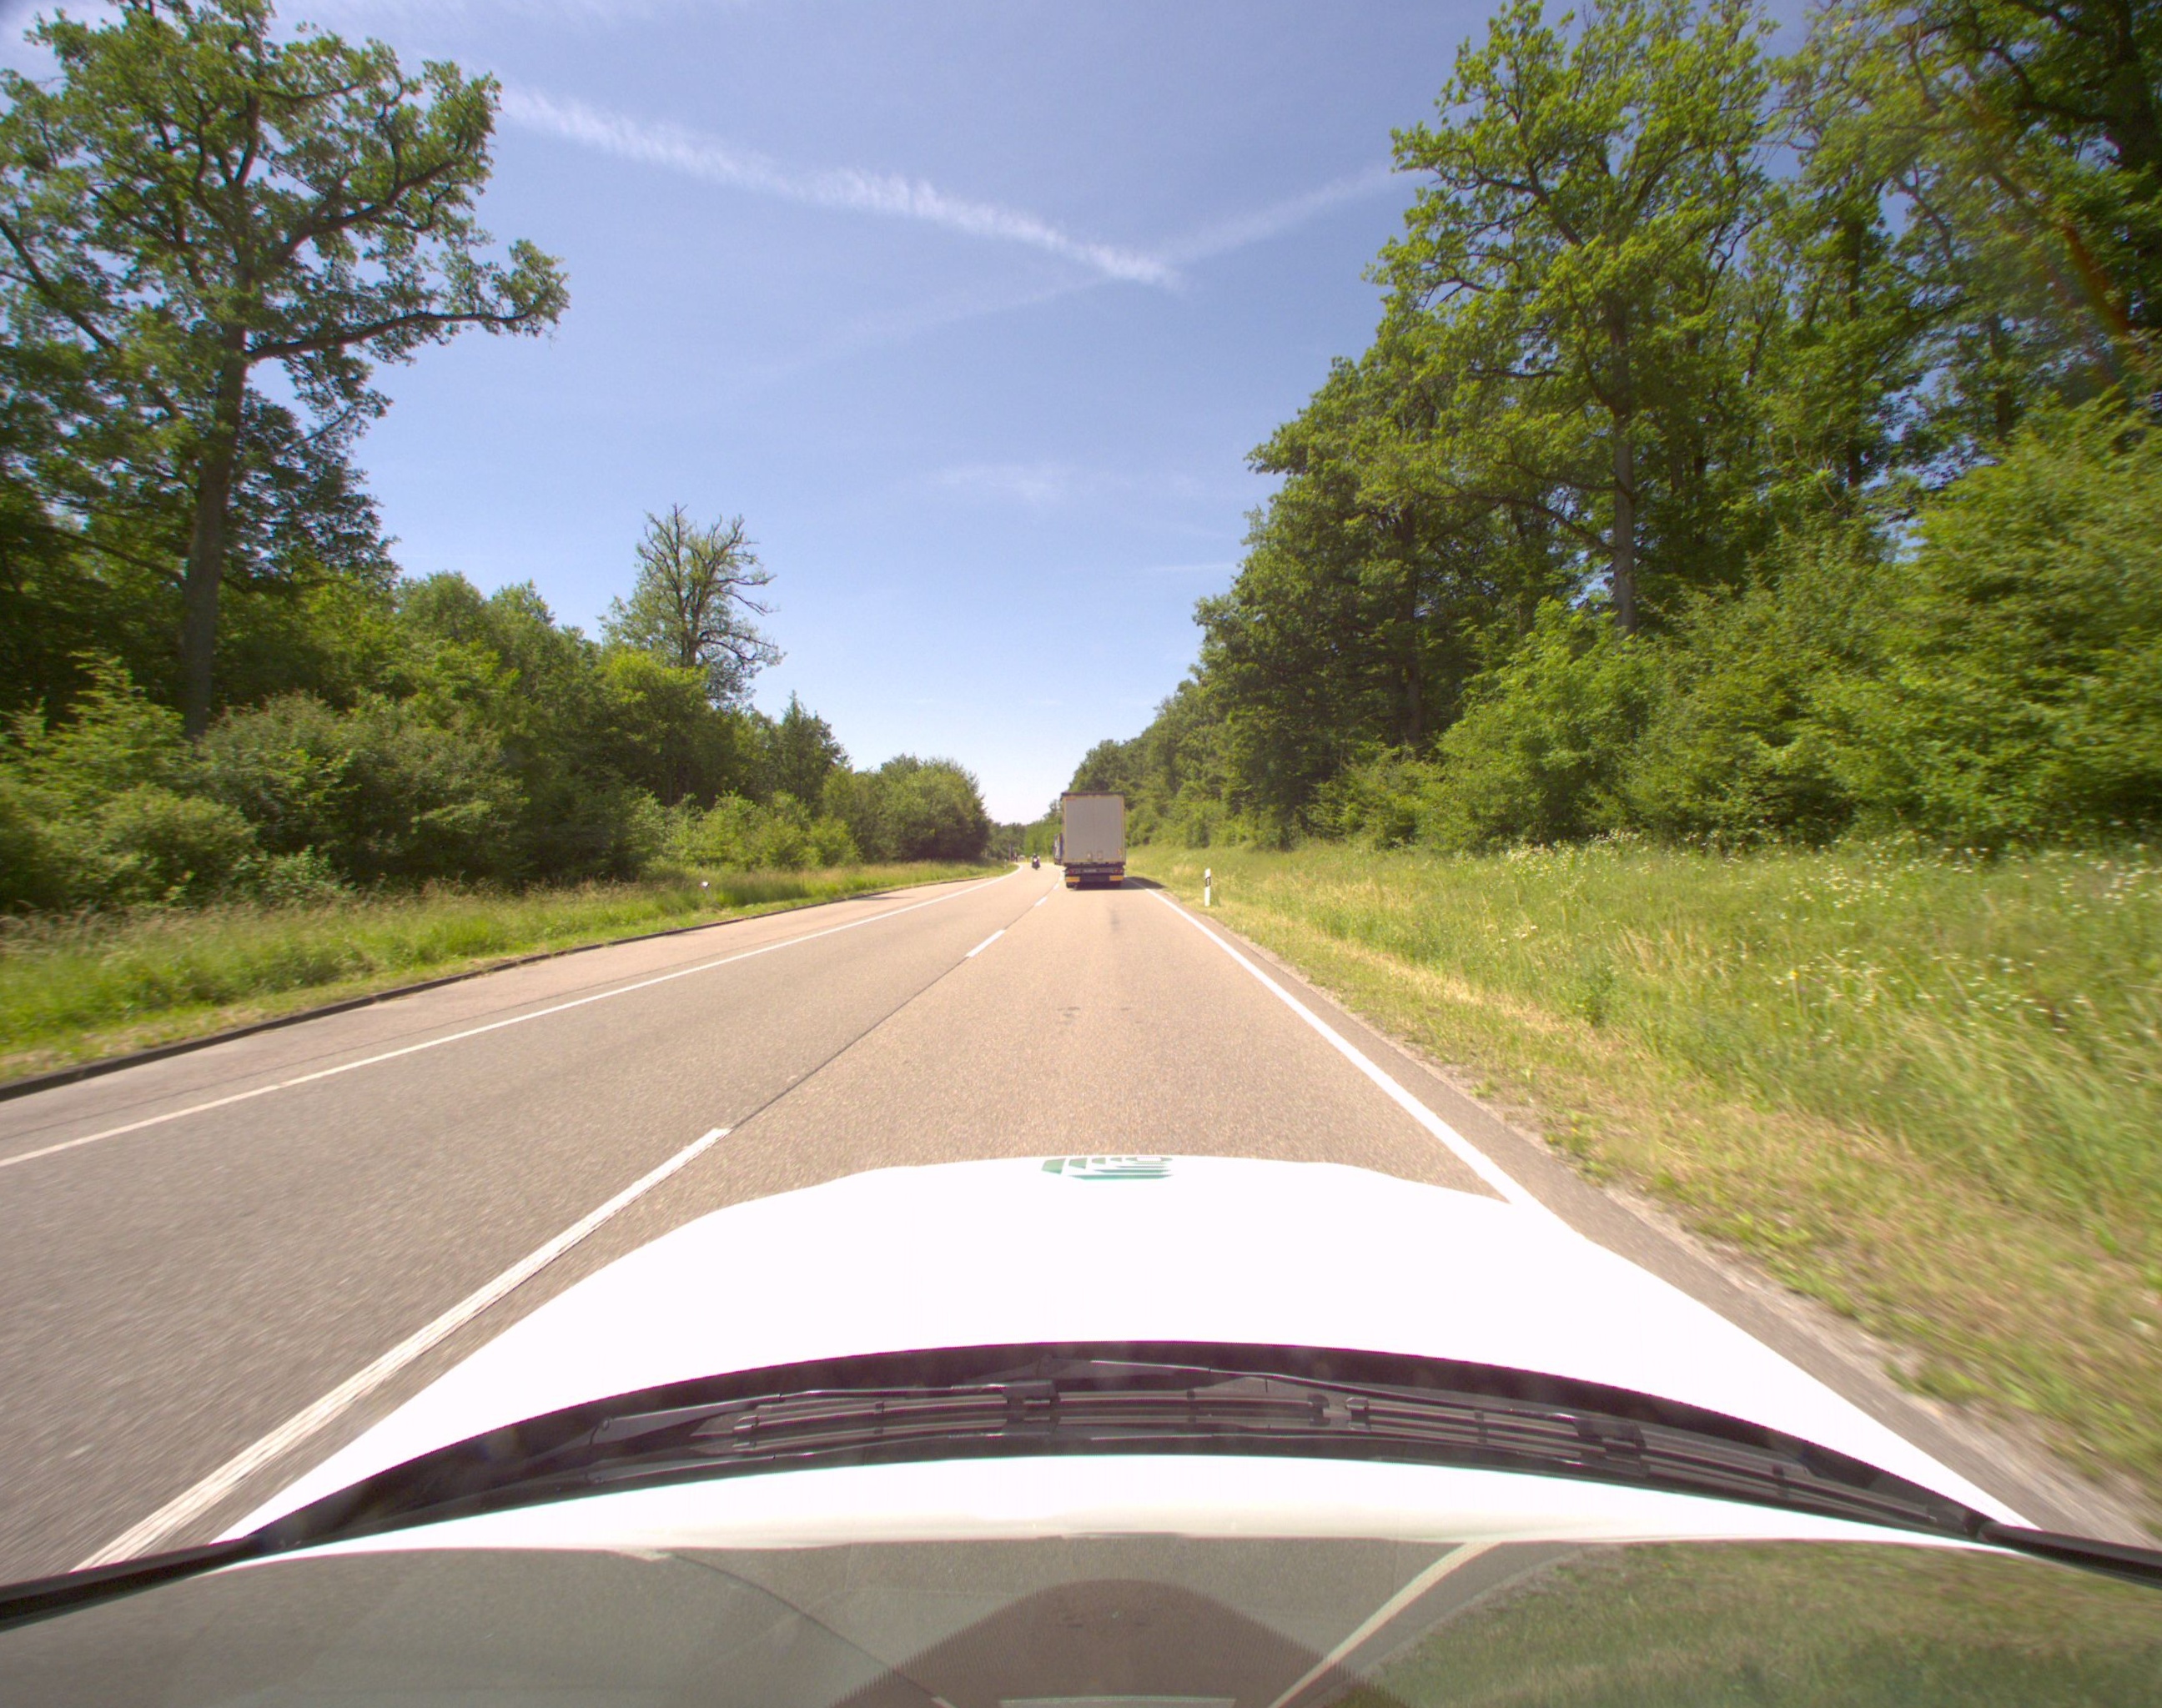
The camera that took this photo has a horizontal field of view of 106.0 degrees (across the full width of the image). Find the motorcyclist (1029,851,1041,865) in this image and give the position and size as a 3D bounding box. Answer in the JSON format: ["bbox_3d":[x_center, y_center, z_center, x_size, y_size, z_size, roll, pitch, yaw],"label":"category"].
[{"bbox_3d":[-4.388,0.374,77.491,1.005,1.327,0.966,-1,0,3],"label":"motorcyclist"}]

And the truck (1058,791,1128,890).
[{"bbox_3d":[0.668,-0.544,38.910,2.751,3.947,12.201,-1,0,2],"label":"truck"}]

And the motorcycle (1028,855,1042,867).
[{"bbox_3d":[-4.380,0.678,77.646,1.010,1.062,2.775,-2,0,4],"label":"motorcycle"}]

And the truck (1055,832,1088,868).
[{"bbox_3d":[-1.394,-0.527,106.563,3.785,4.373,14.902,0,0,-3],"label":"truck"}]
